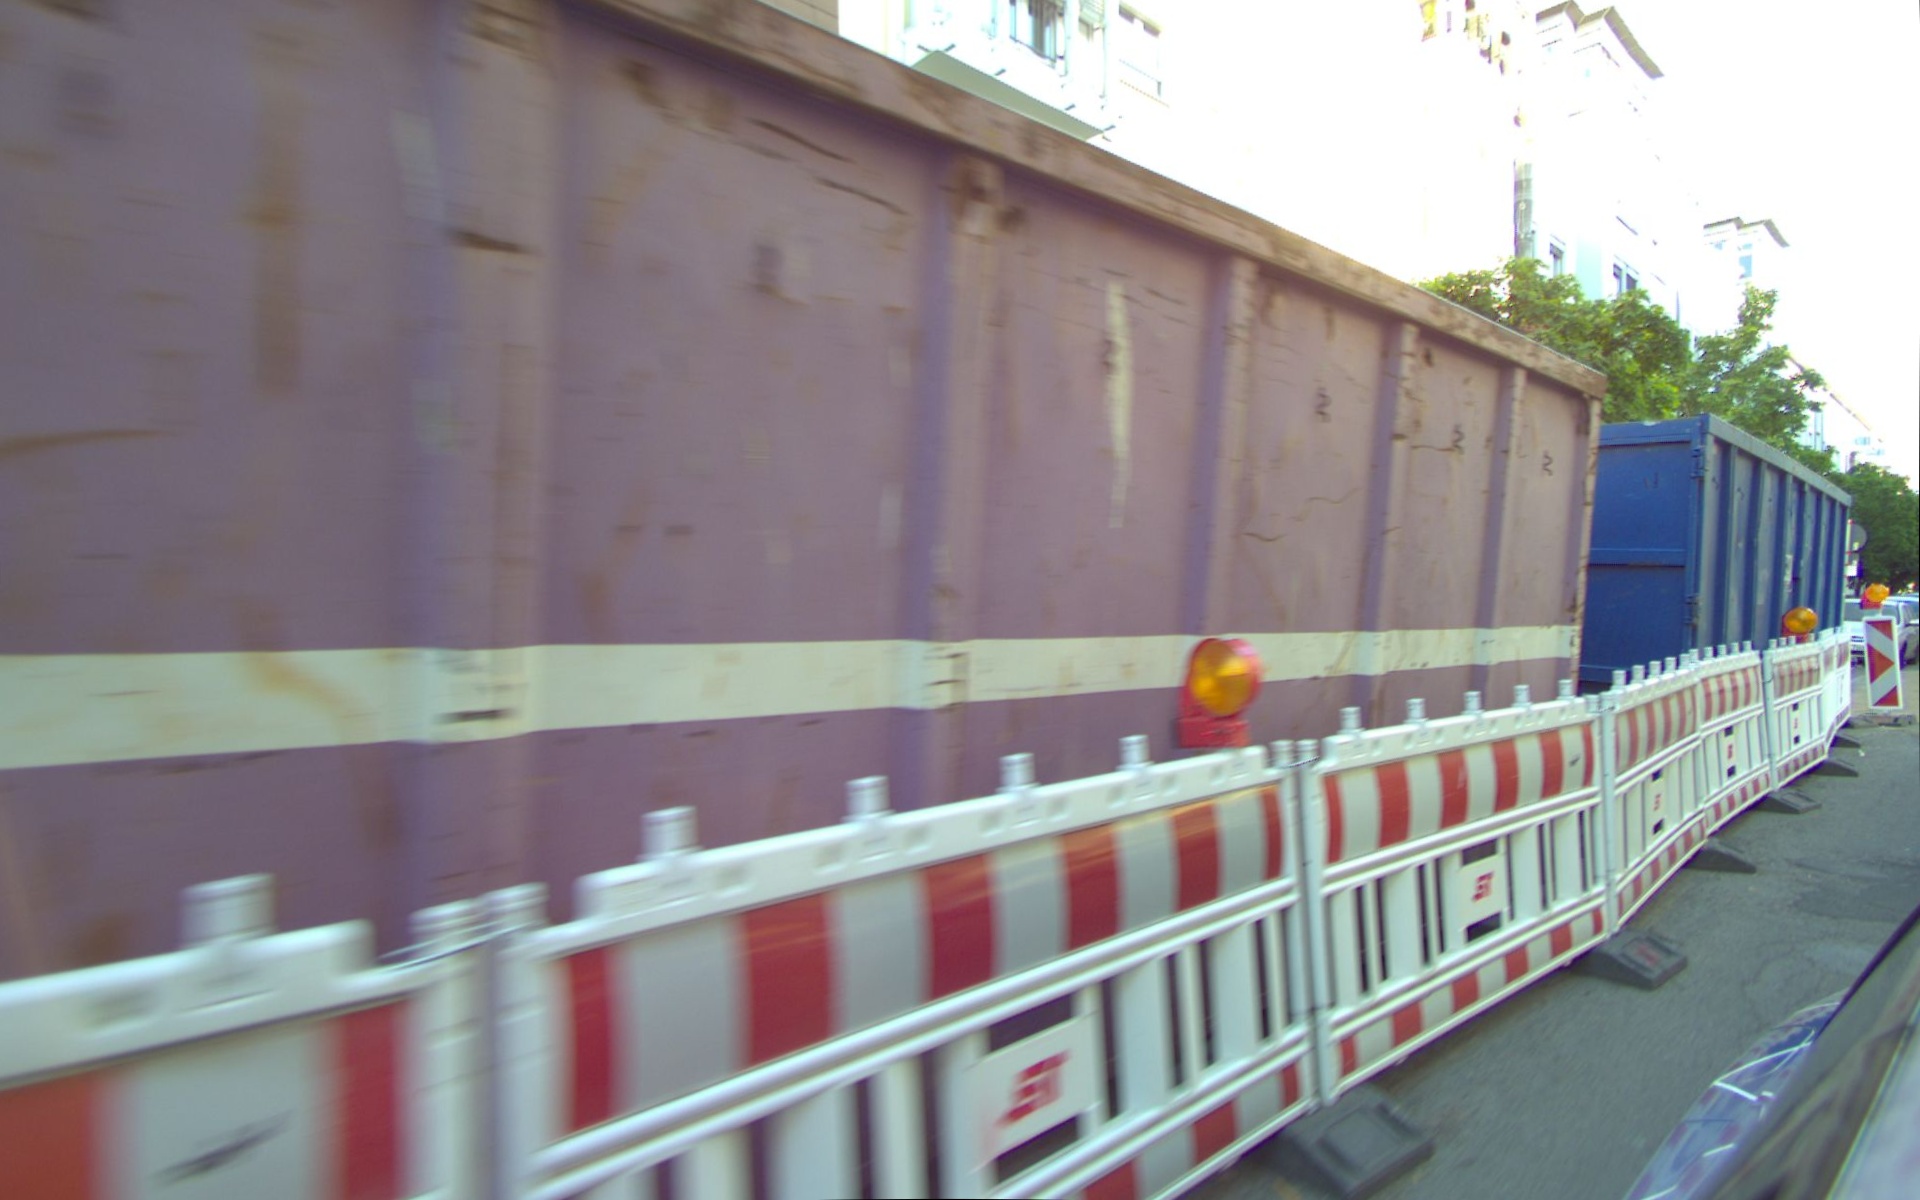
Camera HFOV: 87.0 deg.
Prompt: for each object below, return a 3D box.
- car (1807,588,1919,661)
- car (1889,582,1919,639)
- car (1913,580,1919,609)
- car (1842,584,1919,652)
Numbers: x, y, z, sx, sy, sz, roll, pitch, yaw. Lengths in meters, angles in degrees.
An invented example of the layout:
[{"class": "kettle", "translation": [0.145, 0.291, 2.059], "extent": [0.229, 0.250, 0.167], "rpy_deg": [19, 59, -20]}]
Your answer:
[{"class": "car", "translation": [20.369, 0.486, 22.515], "extent": [3.994, 1.465, 1.637], "rpy_deg": [-1, 0, -40]}, {"class": "car", "translation": [30.444, 0.293, 31.418], "extent": [4.313, 1.710, 1.862], "rpy_deg": [-1, 0, -41]}, {"class": "car", "translation": [67.946, -0.403, 70.514], "extent": [3.933, 2.039, 1.995], "rpy_deg": [-1, 0, -43]}, {"class": "car", "translation": [23.917, 0.415, 25.513], "extent": [3.929, 1.605, 1.912], "rpy_deg": [-1, 0, -40]}]
